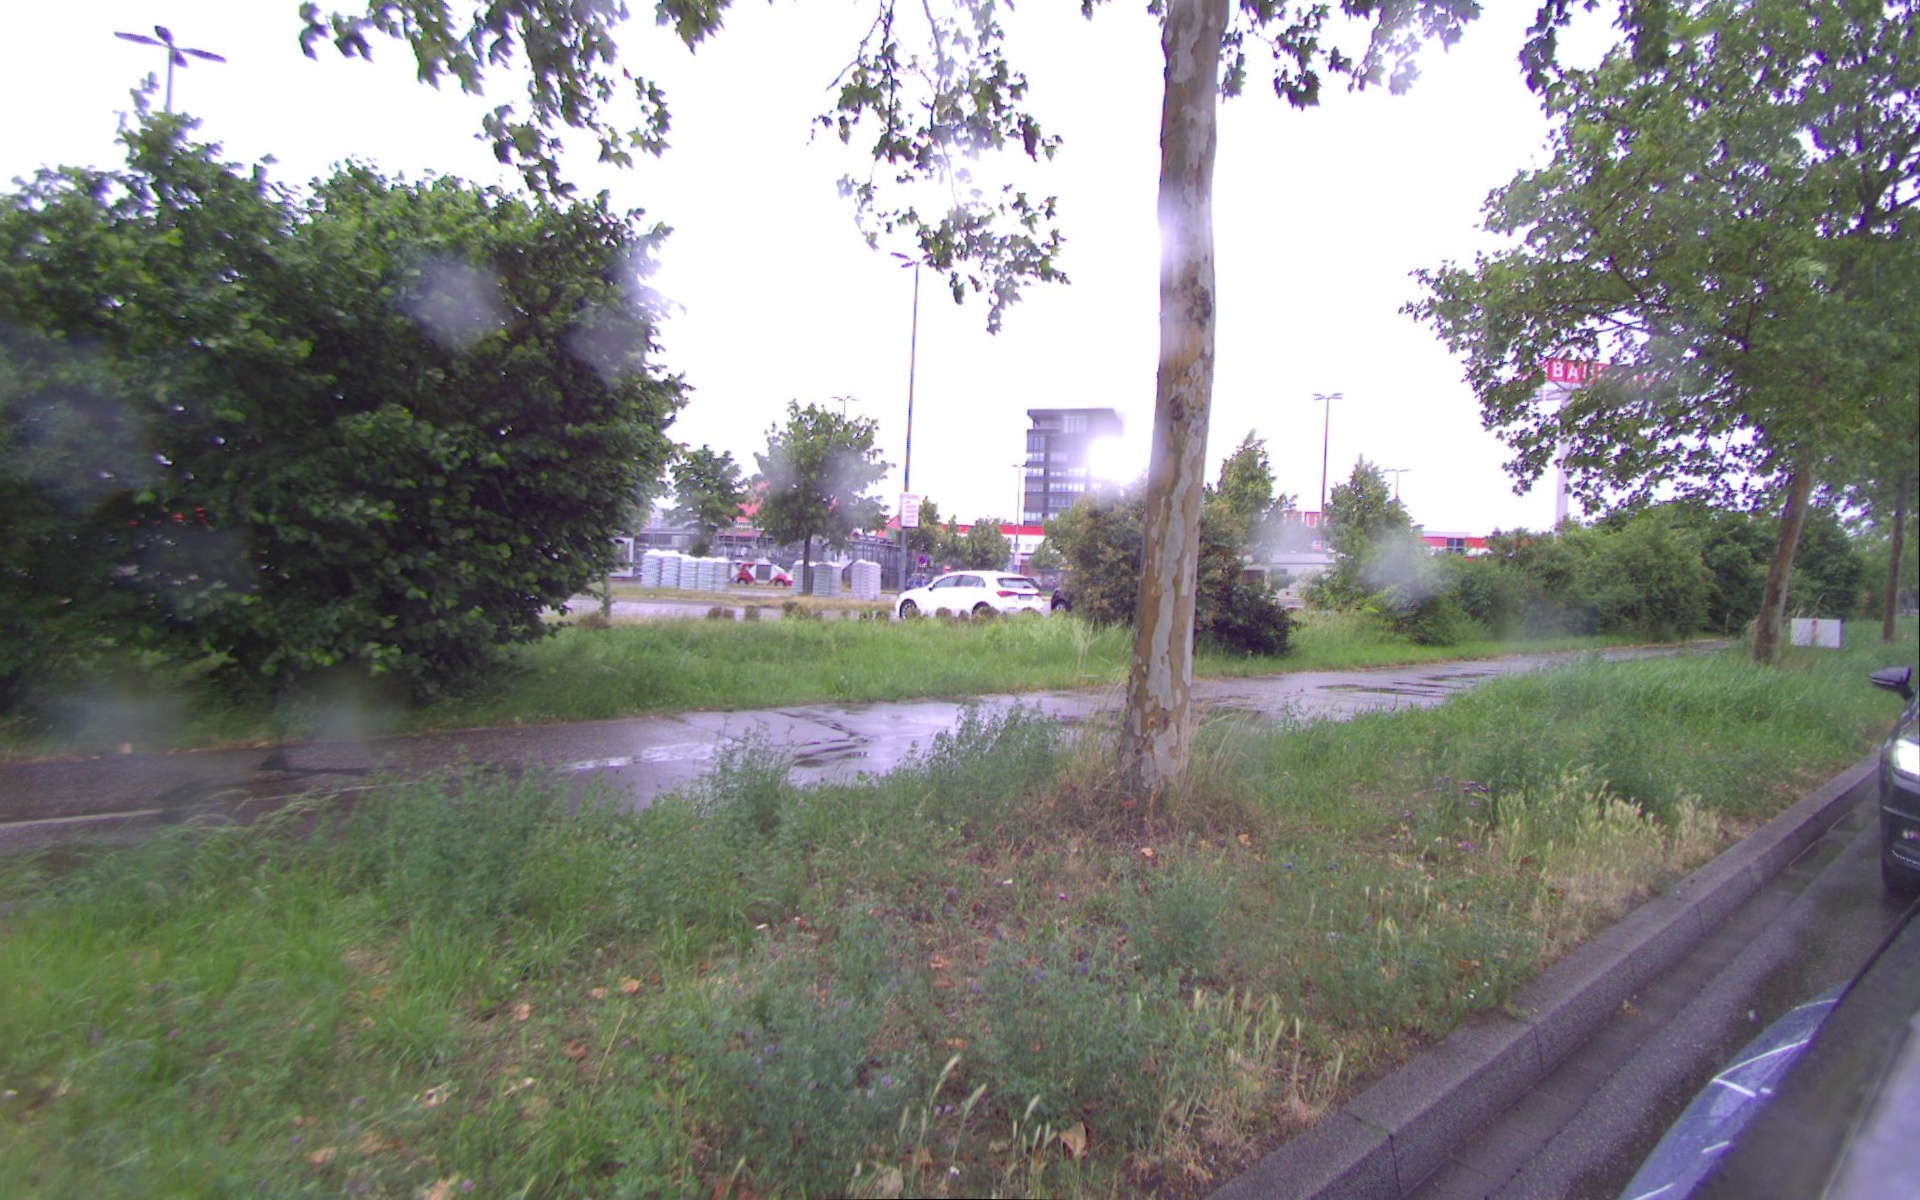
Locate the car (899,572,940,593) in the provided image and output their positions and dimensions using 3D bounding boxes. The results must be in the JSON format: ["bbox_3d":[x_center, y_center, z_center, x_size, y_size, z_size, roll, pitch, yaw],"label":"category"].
[{"bbox_3d":[-3.141,-1.393,79.172,1.905,1.571,4.249,2,2,18],"label":"car"}]

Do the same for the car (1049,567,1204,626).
[{"bbox_3d":[4.929,-0.150,30.287,1.899,1.571,4.262,0,2,-45],"label":"car"}]

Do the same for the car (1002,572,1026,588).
[{"bbox_3d":[6.012,-2.268,112.492,1.973,1.697,4.257,2,2,13],"label":"car"}]

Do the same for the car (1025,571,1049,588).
[{"bbox_3d":[8.506,-2.276,111.891,1.973,1.697,4.257,2,2,13],"label":"car"}]

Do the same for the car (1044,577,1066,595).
[{"bbox_3d":[9.246,-1.375,98.419,1.968,1.697,4.266,2,2,7],"label":"car"}]

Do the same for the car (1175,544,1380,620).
[{"bbox_3d":[10.954,-0.701,35.276,6.399,2.392,2.357,3,2,41],"label":"car"}]

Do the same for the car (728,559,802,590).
[{"bbox_3d":[-11.532,-1.498,59.943,3.937,1.749,1.885,0,0,12],"label":"car"}]

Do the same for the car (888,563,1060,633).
[{"bbox_3d":[0.288,-0.109,25.932,1.899,1.571,4.262,0,2,-45],"label":"car"}]

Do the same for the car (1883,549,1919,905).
[{"bbox_3d":[6.557,0.578,5.607,4.548,1.625,1.768,0,0,-43],"label":"car"}]

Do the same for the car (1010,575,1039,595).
[{"bbox_3d":[6.036,-1.441,94.715,1.973,1.697,4.255,2,2,14],"label":"car"}]
